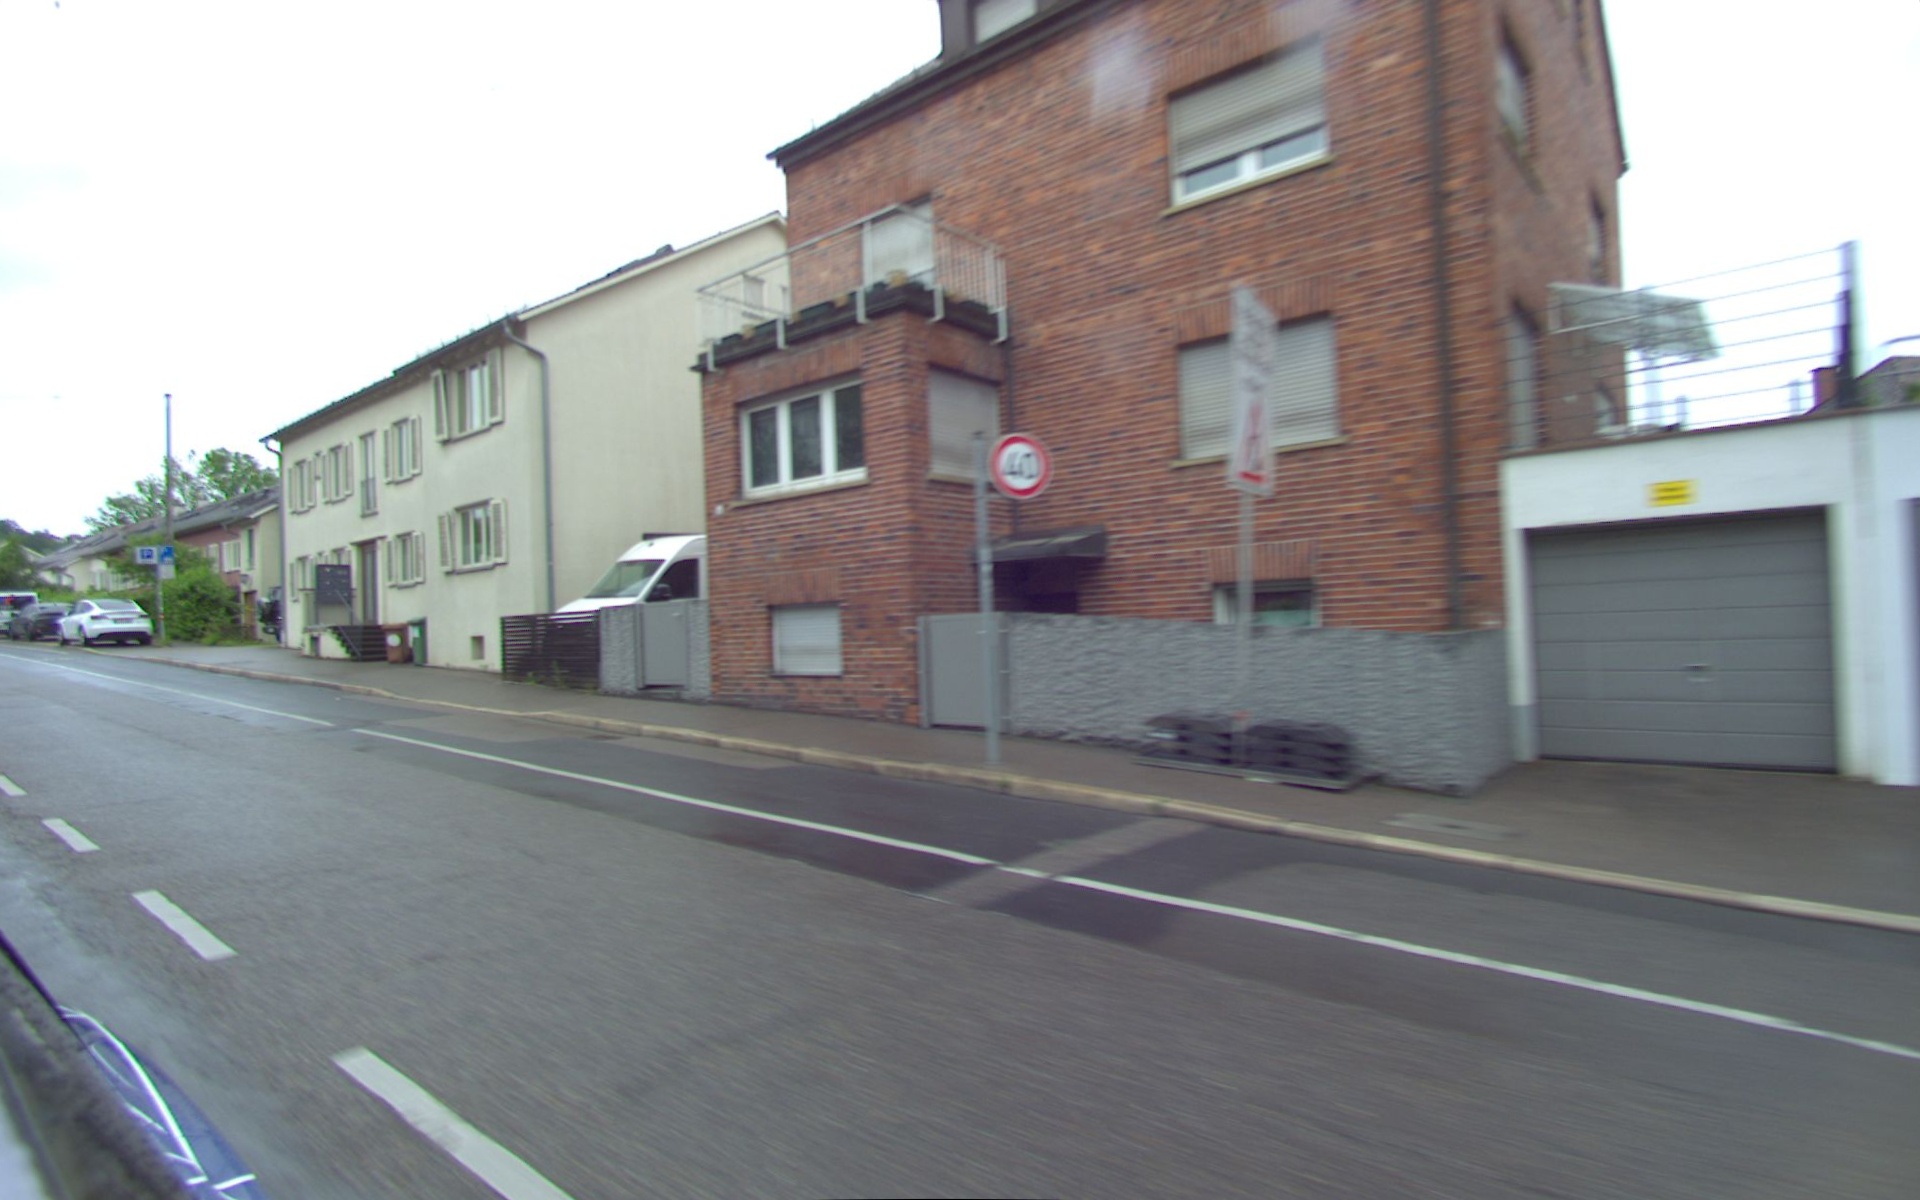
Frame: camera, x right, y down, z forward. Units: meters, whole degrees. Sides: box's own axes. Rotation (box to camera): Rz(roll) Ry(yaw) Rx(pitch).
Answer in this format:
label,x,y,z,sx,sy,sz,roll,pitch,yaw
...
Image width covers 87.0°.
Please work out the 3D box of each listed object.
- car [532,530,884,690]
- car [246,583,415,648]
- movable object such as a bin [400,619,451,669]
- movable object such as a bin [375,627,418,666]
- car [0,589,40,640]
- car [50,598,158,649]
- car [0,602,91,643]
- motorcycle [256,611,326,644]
label,x,y,z,sx,sy,sz,roll,pitch,yaw
car,-4.563,0.111,19.580,2.167,2.572,6.585,1,1,41
car,-20.994,0.503,33.926,1.885,2.029,4.447,-2,-1,37
movable object such as a bin,-11.746,0.955,22.251,0.738,1.054,0.773,-1,0,41
movable object such as a bin,-13.038,1.065,23.428,0.708,0.866,0.666,-1,0,41
car,-42.016,0.624,43.916,5.004,2.094,1.834,-1,1,32
car,-30.206,0.786,35.672,4.669,1.643,1.911,0,1,37
car,-36.559,0.876,40.444,4.513,1.488,1.792,-1,1,36
motorcycle,-25.169,1.015,38.095,0.840,1.143,2.070,2,2,43
